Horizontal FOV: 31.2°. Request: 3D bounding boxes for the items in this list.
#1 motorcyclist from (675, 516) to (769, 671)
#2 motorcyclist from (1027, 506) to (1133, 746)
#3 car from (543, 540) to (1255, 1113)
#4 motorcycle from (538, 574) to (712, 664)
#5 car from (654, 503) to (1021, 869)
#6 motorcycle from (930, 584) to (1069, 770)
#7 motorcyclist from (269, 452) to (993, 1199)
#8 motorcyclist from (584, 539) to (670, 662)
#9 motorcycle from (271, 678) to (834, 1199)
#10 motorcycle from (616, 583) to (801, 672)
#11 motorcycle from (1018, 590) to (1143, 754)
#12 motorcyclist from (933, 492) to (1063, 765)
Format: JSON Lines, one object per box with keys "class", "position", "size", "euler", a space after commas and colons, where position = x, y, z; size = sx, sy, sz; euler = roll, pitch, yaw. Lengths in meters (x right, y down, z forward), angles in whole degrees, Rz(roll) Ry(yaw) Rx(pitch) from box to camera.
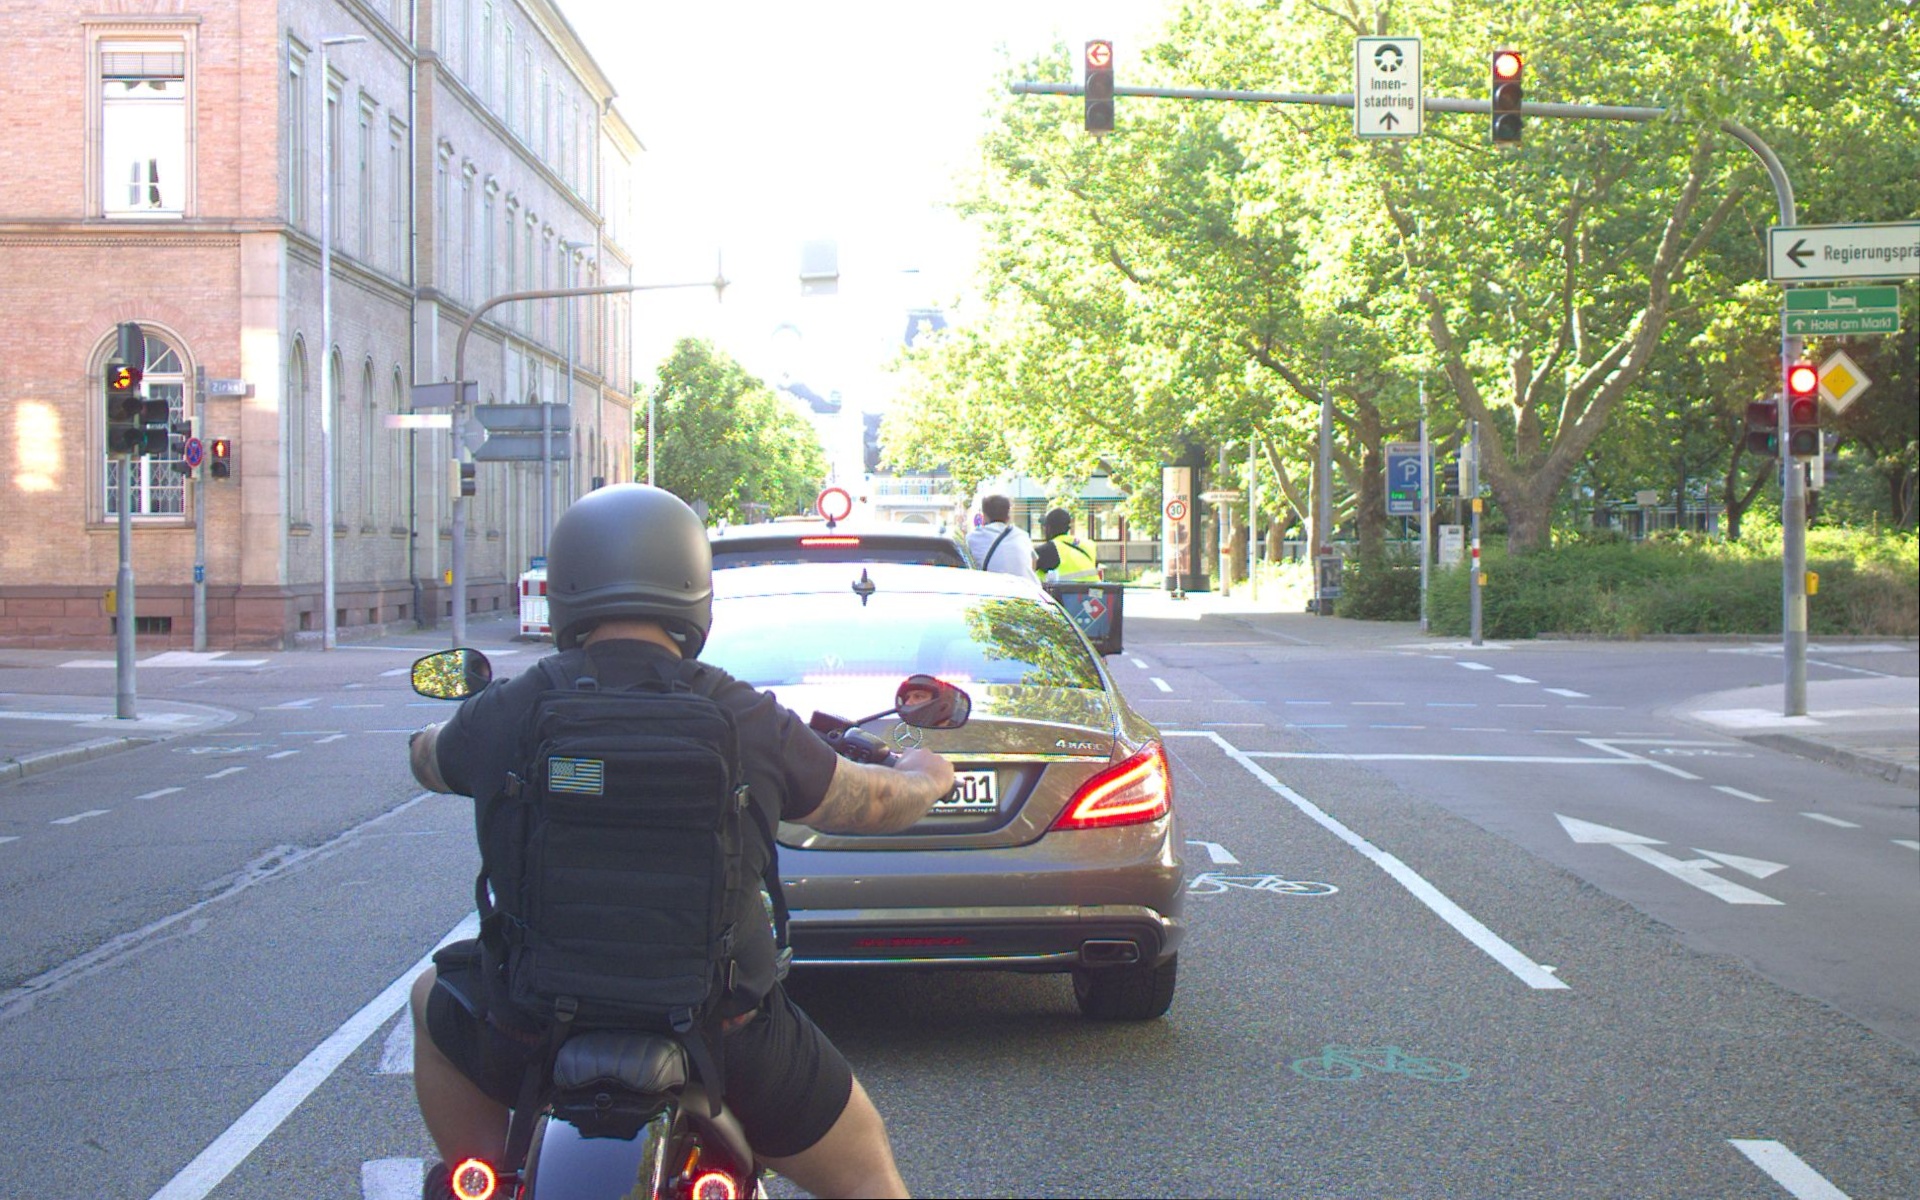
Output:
{"class": "motorcyclist", "position": [-2.664, -0.075, 38.549], "size": [0.985, 1.716, 0.551], "euler": [1, 0, 0]}
{"class": "motorcyclist", "position": [0.878, 0.184, 25.319], "size": [0.717, 1.737, 0.751], "euler": [1, 0, -1]}
{"class": "car", "position": [-0.409, 0.572, 11.139], "size": [1.824, 1.481, 4.334], "euler": [1, 1, -7]}
{"class": "motorcycle", "position": [-4.202, 0.238, 43.168], "size": [2.080, 1.093, 0.628], "euler": [1, 0, -17]}
{"class": "car", "position": [-0.580, 0.373, 17.680], "size": [1.651, 1.646, 4.000], "euler": [1, 1, -1]}
{"class": "motorcycle", "position": [0.244, 0.489, 22.906], "size": [0.863, 1.164, 1.930], "euler": [1, 1, -1]}
{"class": "motorcyclist", "position": [-0.467, 0.599, 5.339], "size": [0.990, 1.605, 1.120], "euler": [1, 0, -1]}
{"class": "motorcyclist", "position": [-4.186, 0.005, 43.177], "size": [0.939, 1.532, 0.645], "euler": [1, 0, -17]}
{"class": "motorcycle", "position": [-0.564, 0.779, 5.434], "size": [0.660, 1.236, 2.058], "euler": [1, 1, -1]}
{"class": "motorcycle", "position": [-2.812, 0.307, 38.552], "size": [2.012, 0.958, 0.580], "euler": [1, 0, 0]}
{"class": "motorcycle", "position": [0.862, 0.501, 25.181], "size": [0.797, 1.128, 2.236], "euler": [1, 1, -1]}
{"class": "motorcyclist", "position": [0.246, 0.182, 23.071], "size": [0.831, 1.782, 0.913], "euler": [1, 0, -1]}
